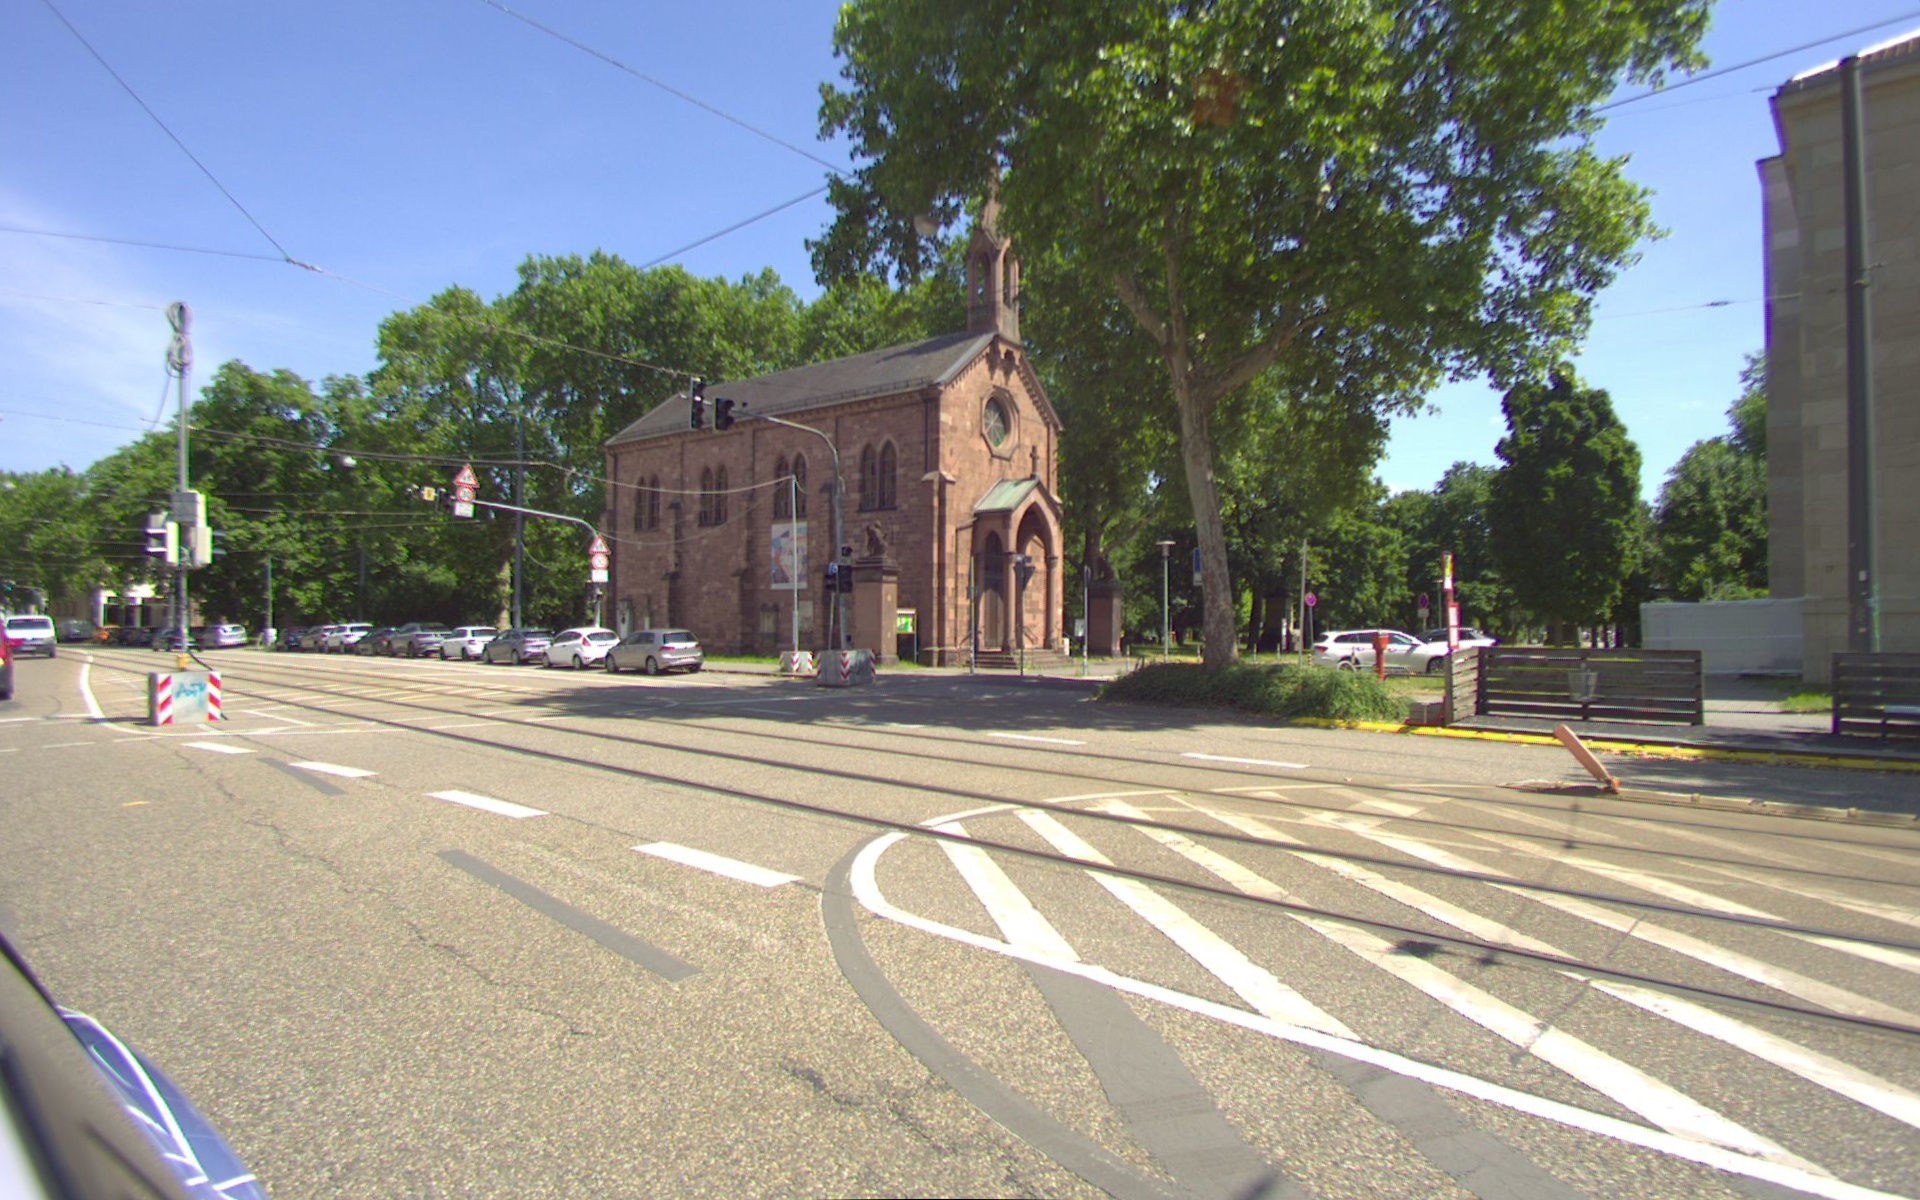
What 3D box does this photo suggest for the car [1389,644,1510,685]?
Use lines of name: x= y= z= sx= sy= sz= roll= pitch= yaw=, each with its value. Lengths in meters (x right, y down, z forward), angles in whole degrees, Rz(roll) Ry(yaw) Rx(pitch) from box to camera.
car: x=17.544 y=2.310 z=36.447 sx=3.557 sy=1.387 sz=1.714 roll=-1 pitch=-1 yaw=12

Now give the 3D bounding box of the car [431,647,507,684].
car: x=-21.473 y=2.835 z=44.188 sx=3.752 sy=1.470 sz=1.724 roll=-2 pitch=-2 yaw=42

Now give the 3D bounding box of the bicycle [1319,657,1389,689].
bicycle: x=11.584 y=2.142 z=29.775 sx=1.896 sy=0.907 sz=0.639 roll=-1 pitch=-1 yaw=23

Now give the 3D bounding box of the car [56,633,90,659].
car: x=-80.041 y=4.120 z=91.276 sx=3.759 sy=2.314 sz=1.798 roll=-2 pitch=-2 yaw=41

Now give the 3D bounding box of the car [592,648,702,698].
car: x=-10.411 y=2.359 z=33.545 sx=4.221 sy=1.470 sz=1.640 roll=-2 pitch=-2 yaw=43

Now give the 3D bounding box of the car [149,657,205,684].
car: x=-45.737 y=4.084 z=59.099 sx=4.344 sy=1.405 sz=1.728 roll=-2 pitch=-2 yaw=40

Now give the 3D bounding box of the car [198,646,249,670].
car: x=-50.551 y=3.950 z=69.455 sx=3.997 sy=1.575 sz=1.952 roll=-2 pitch=-2 yaw=40

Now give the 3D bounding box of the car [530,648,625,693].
car: x=-13.986 y=2.529 z=36.931 sx=4.059 sy=1.470 sz=1.640 roll=-2 pitch=-2 yaw=43

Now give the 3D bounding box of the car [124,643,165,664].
car: x=-63.998 y=4.152 z=79.372 sx=3.813 sy=1.526 sz=1.725 roll=-2 pitch=-2 yaw=39

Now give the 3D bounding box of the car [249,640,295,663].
car: x=-44.830 y=3.313 z=65.916 sx=3.764 sy=1.390 sz=1.628 roll=-2 pitch=-2 yaw=42

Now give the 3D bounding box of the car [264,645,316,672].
car: x=-41.203 y=3.559 z=62.227 sx=4.187 sy=1.509 sz=1.724 roll=-2 pitch=-2 yaw=42

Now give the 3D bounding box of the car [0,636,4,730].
car: x=-20.585 y=1.683 z=20.401 sx=1.833 sy=1.848 sz=5.171 roll=0 pitch=-2 yaw=-43

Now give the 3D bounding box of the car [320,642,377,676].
car: x=-33.024 y=3.159 z=54.644 sx=3.907 sy=1.665 sz=1.723 roll=-2 pitch=-2 yaw=44

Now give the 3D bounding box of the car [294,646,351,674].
car: x=-36.654 y=3.414 z=58.166 sx=4.187 sy=1.509 sz=1.724 roll=-2 pitch=-2 yaw=42

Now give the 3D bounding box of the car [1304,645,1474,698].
car: x=13.338 y=2.227 z=31.716 sx=4.483 sy=1.520 sz=1.910 roll=-1 pitch=-1 yaw=9

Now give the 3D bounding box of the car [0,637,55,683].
car: x=-43.155 y=2.704 z=46.499 sx=2.135 sy=1.953 sz=4.857 roll=0 pitch=-2 yaw=-44

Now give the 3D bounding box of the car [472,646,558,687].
car: x=-17.741 y=2.594 z=40.301 sx=4.058 sy=1.470 sz=1.640 roll=-2 pitch=-2 yaw=42

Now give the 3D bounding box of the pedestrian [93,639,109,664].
pedestrian: x=-71.704 y=4.268 z=84.489 sx=0.940 sy=2.029 sz=0.761 roll=0 pitch=-2 yaw=-45

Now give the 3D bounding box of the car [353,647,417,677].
car: x=-29.126 y=3.096 z=51.198 sx=3.999 sy=1.386 sz=1.649 roll=-2 pitch=-2 yaw=42

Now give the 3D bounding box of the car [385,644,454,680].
car: x=-25.406 y=2.883 z=47.512 sx=3.752 sy=1.535 sz=1.724 roll=-2 pitch=-2 yaw=42
